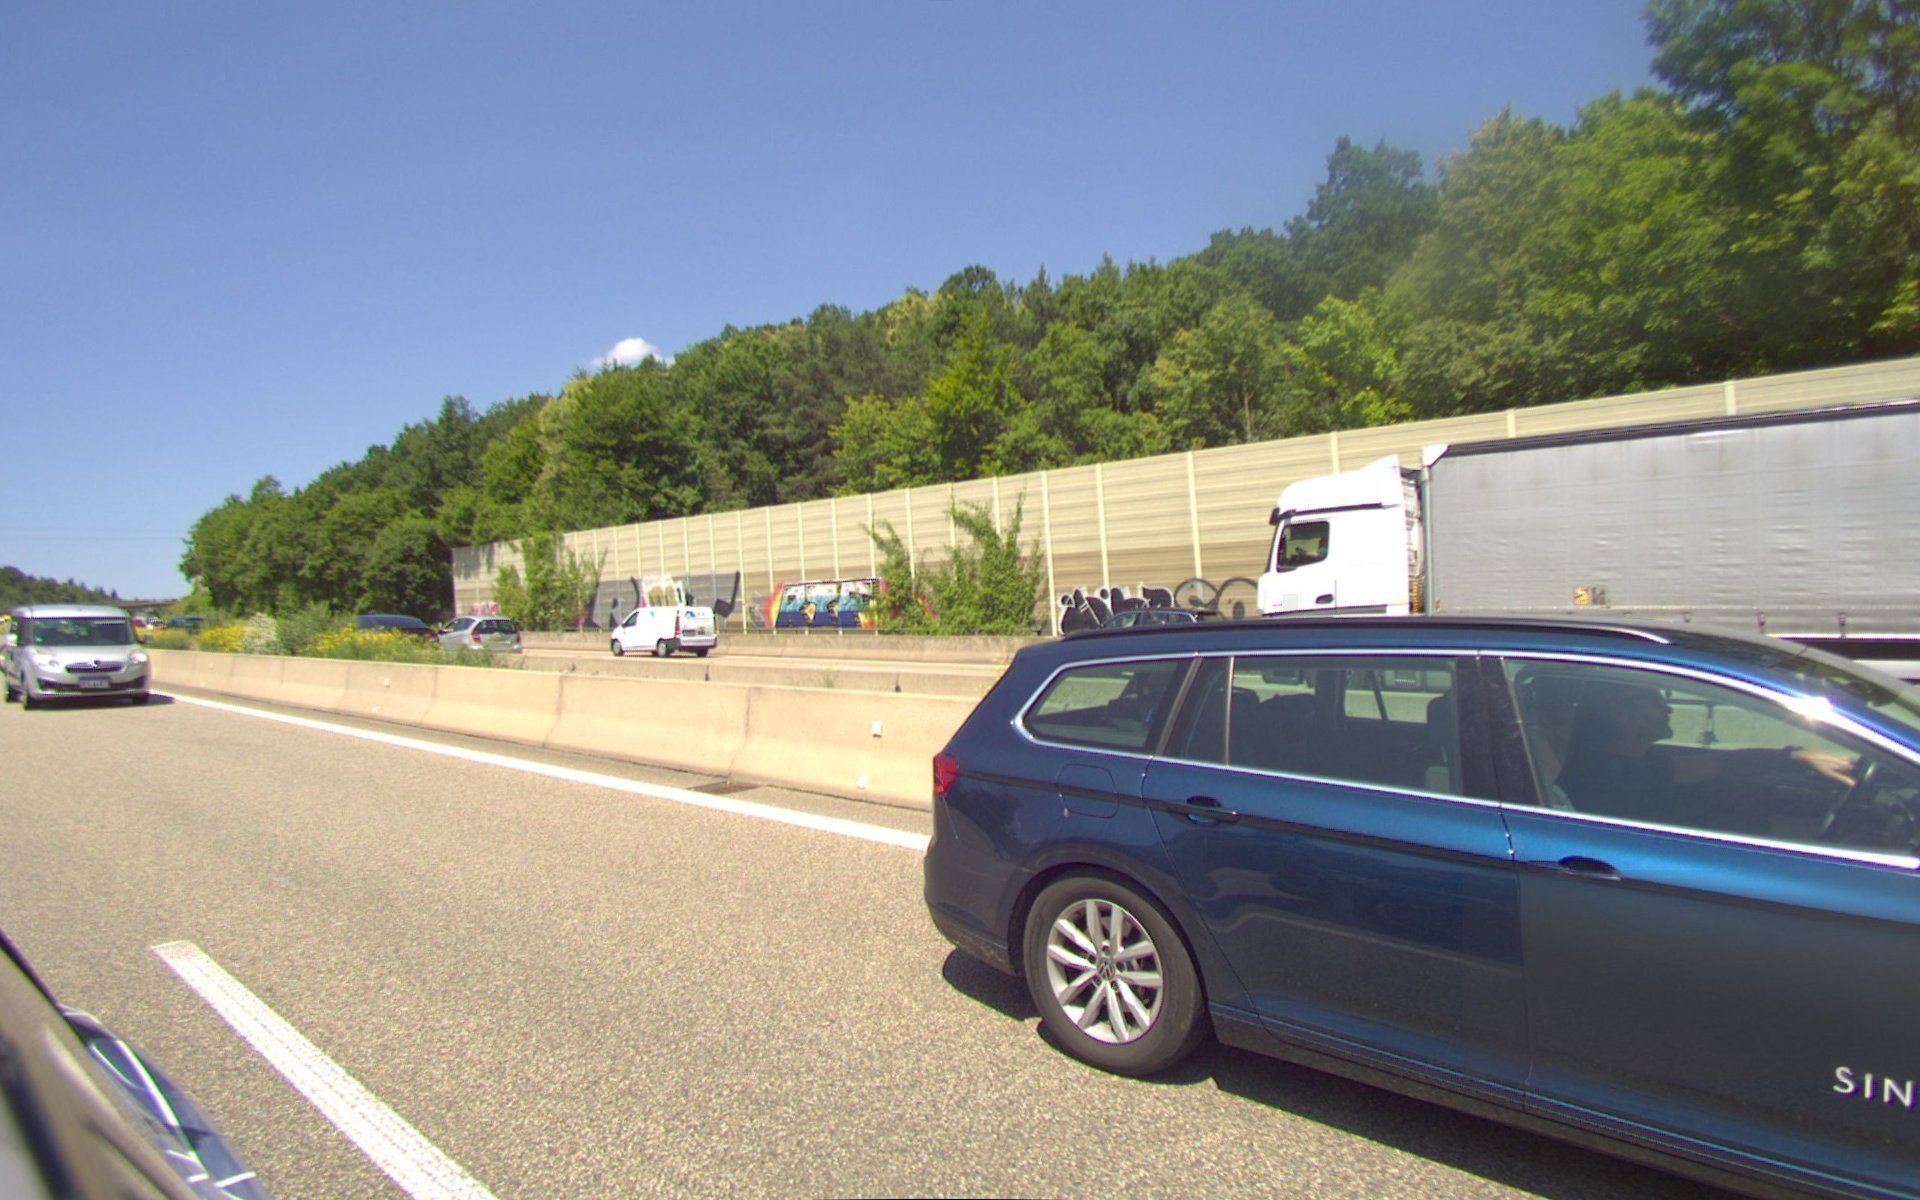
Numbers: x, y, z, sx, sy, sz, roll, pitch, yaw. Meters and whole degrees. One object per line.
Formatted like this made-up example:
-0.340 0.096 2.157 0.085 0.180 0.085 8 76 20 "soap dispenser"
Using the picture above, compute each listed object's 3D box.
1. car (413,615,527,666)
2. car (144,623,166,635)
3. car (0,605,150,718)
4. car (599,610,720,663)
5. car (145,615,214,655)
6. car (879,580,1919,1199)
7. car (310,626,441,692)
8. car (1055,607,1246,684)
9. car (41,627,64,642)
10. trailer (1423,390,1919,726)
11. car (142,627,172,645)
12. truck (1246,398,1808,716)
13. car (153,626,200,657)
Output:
-16.335 1.310 33.627 4.601 1.588 1.791 -2 -1 41 "car"
-103.463 3.740 130.045 4.313 1.493 1.612 -2 -2 44 "car"
-16.412 1.061 18.697 4.001 1.858 1.756 -2 -2 44 "car"
-11.489 1.338 38.472 5.301 1.881 1.901 -1 -1 41 "car"
-35.648 1.592 46.157 4.657 1.711 1.666 -2 -2 42 "car"
2.030 0.696 2.840 4.728 1.438 1.714 -2 -2 42 "car"
-16.274 1.575 28.086 4.601 1.653 1.791 -2 -1 41 "car"
4.443 1.030 23.922 4.097 1.653 1.791 -2 -1 41 "car"
-103.591 3.879 115.505 3.712 1.663 1.625 -2 -2 43 "car"
13.203 -0.499 11.985 13.817 3.938 2.784 -1 -1 40 "trailer"
-77.147 3.420 97.235 4.189 1.652 1.720 -1 -1 44 "car"
8.557 -0.484 15.971 7.309 3.938 2.784 -1 -1 40 "truck"
-53.228 2.785 68.737 4.503 1.936 1.719 -1 -1 42 "car"
